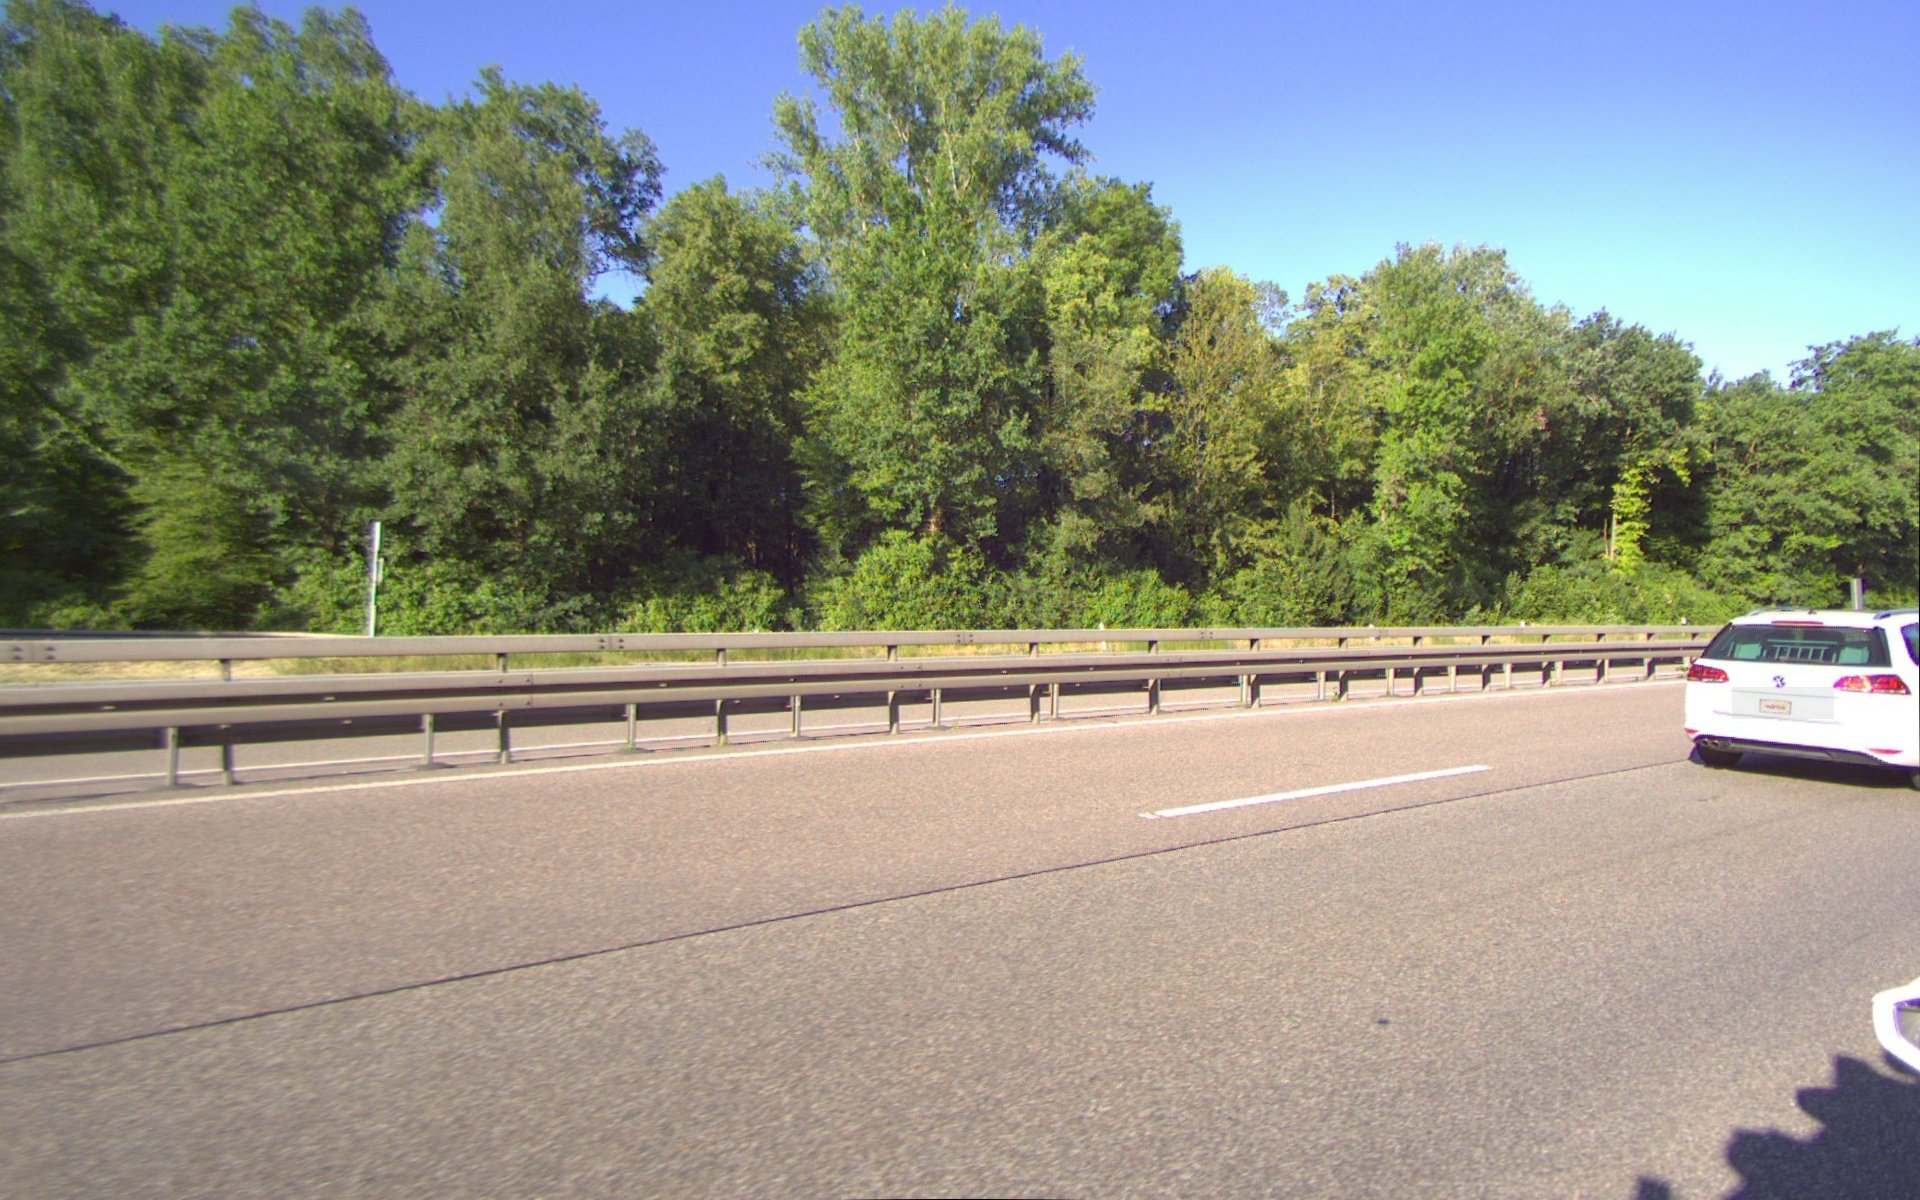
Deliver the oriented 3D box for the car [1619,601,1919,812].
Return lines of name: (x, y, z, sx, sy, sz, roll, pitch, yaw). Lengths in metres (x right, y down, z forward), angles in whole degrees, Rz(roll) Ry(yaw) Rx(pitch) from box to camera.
car: (8.803, 0.812, 9.691, 5.536, 1.528, 1.919, 1, 1, -32)
